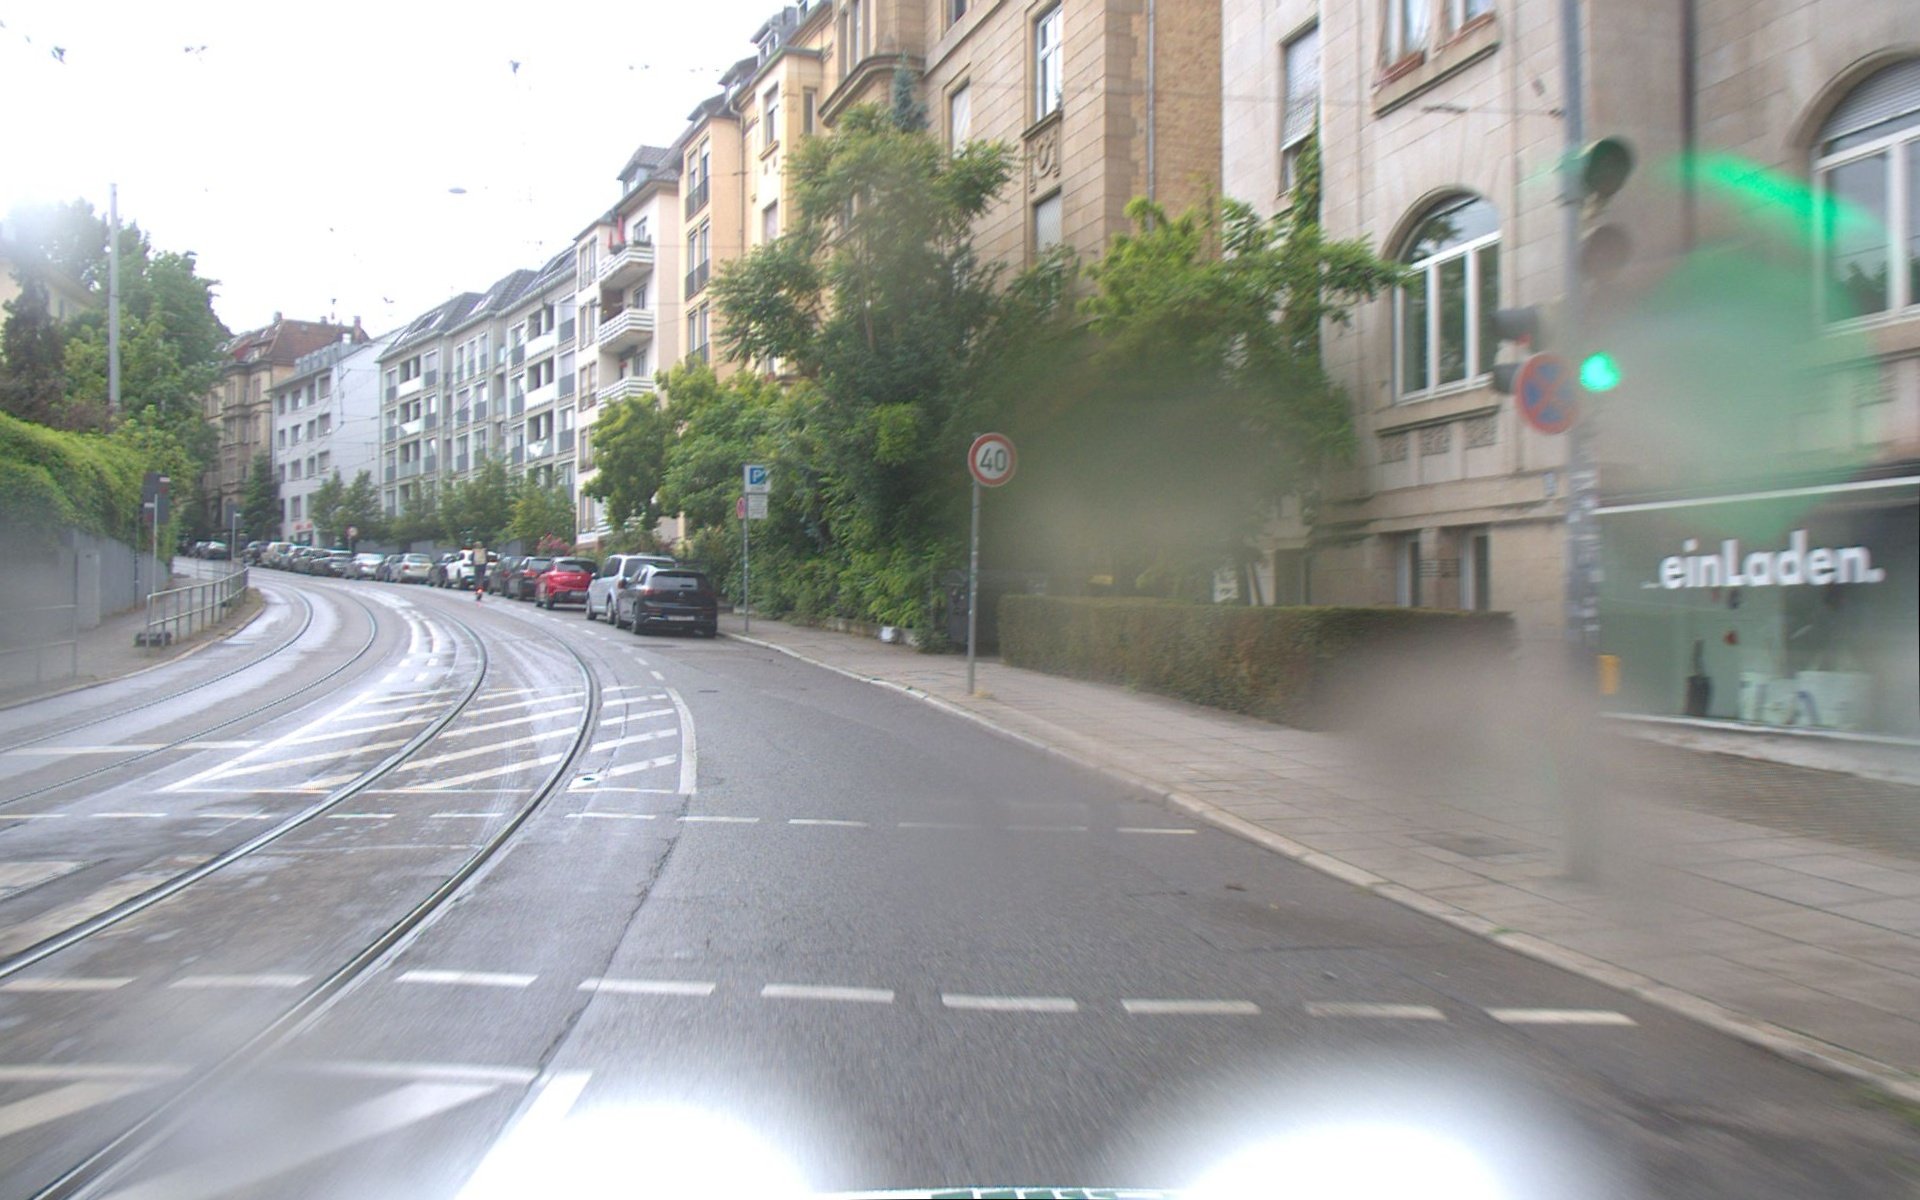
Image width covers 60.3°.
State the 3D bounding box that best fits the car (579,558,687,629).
[{"bbox_3d":[-8.053,-0.206,40.466,1.742,1.631,4.257,0,1,-23],"label":"car"}]

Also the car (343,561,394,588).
[{"bbox_3d":[-33.436,-1.440,93.403,1.745,1.459,4.588,0,2,-32],"label":"car"}]

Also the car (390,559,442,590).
[{"bbox_3d":[-27.361,-1.284,83.095,1.643,1.497,4.465,2,0,-29],"label":"car"}]

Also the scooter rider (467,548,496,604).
[{"bbox_3d":[-15.468,-0.780,53.462,0.617,1.735,0.835,3,0,-31],"label":"scooter rider"}]

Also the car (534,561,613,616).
[{"bbox_3d":[-11.328,-0.361,48.298,1.697,1.462,3.817,1,1,-21],"label":"car"}]

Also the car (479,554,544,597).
[{"bbox_3d":[-16.547,-0.935,60.881,1.537,1.462,4.268,1,1,-26],"label":"car"}]

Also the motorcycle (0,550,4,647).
[{"bbox_3d":[-17.101,0.004,27.567,1.892,1.628,0.593,-1,3,-18],"label":"motorcycle"}]

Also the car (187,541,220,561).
[{"bbox_3d":[-61.872,-4.009,135.208,1.638,1.562,3.837,-3,4,-37],"label":"car"}]

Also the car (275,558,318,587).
[{"bbox_3d":[-44.502,-1.849,110.864,1.751,1.818,4.198,2,1,-34],"label":"car"}]

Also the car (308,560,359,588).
[{"bbox_3d":[-38.507,-1.581,101.635,1.755,1.643,4.189,0,2,-39],"label":"car"}]

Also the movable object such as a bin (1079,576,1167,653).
[{"bbox_3d":[2.939,0.243,29.874,1.199,1.331,1.162,-1,1,-19],"label":"movable object such as a bin"}]

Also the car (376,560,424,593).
[{"bbox_3d":[-29.489,-1.249,87.055,1.684,1.538,3.676,2,1,-31],"label":"car"}]

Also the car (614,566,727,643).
[{"bbox_3d":[-6.304,0.058,35.679,1.739,1.414,3.979,2,2,-19],"label":"car"}]

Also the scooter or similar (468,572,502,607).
[{"bbox_3d":[-15.441,-0.351,53.746,0.508,1.067,1.988,3,0,-31],"label":"scooter or similar"}]

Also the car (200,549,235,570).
[{"bbox_3d":[-58.880,-3.226,131.116,1.752,1.544,4.088,2,1,-36],"label":"car"}]

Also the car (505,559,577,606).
[{"bbox_3d":[-14.110,-0.603,55.566,1.661,1.462,4.034,1,1,-24],"label":"car"}]

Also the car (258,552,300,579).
[{"bbox_3d":[-47.908,-2.439,116.296,1.753,1.713,4.193,2,1,-37],"label":"car"}]

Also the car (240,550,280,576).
[{"bbox_3d":[-50.836,-2.720,120.100,1.752,1.713,4.195,2,1,-36],"label":"car"}]

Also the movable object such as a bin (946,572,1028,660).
[{"bbox_3d":[0.468,0.260,28.724,1.210,1.427,0.816,-2,4,-27],"label":"movable object such as a bin"}]

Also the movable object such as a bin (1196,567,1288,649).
[{"bbox_3d":[5.208,0.124,30.622,1.212,1.449,1.301,-1,1,-19],"label":"movable object such as a bin"}]

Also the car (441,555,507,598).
[{"bbox_3d":[-20.219,-0.992,68.691,1.816,1.600,4.210,3,1,-28],"label":"car"}]
